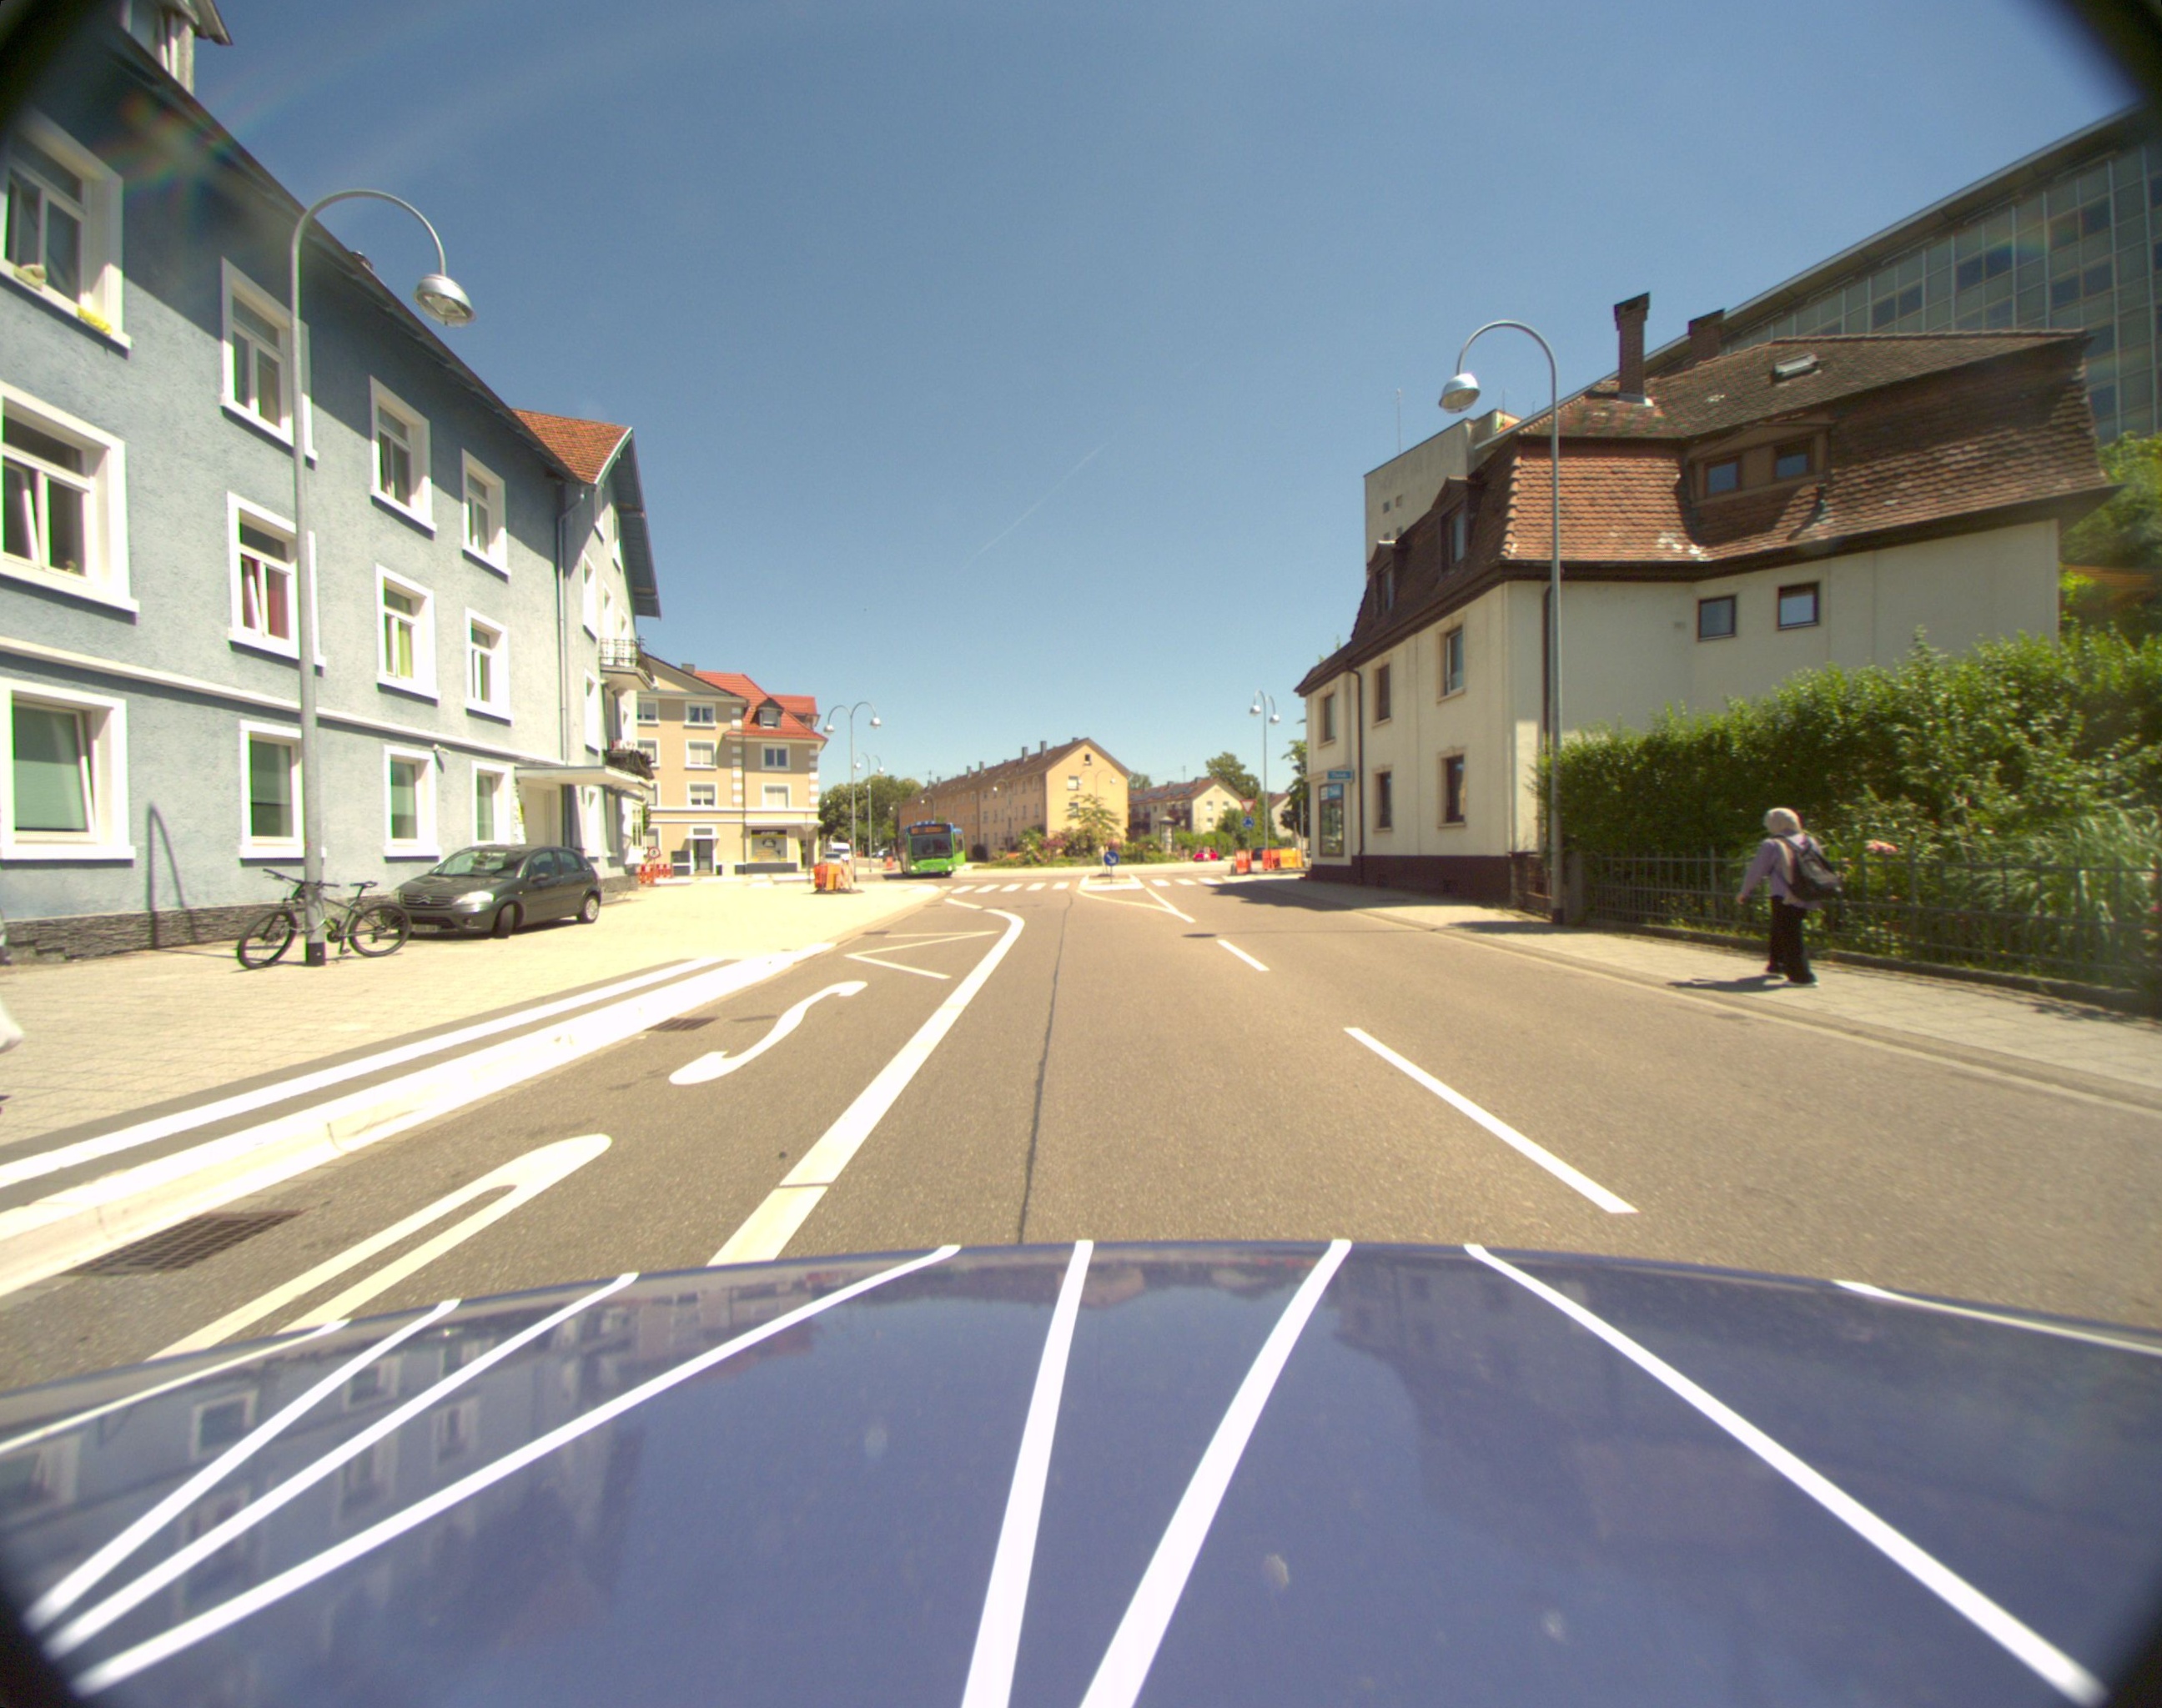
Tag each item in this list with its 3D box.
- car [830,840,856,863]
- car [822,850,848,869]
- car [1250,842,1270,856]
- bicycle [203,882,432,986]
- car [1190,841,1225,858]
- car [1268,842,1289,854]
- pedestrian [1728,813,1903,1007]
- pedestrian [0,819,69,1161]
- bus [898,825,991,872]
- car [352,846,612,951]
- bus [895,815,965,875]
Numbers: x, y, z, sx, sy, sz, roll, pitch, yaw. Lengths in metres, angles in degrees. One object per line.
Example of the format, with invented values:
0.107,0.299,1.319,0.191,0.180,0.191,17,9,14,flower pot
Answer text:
-26.147,-0.263,83.289,2.345,2.442,5.723,1,0,-21,car
-19.962,0.418,61.603,1.829,1.403,3.992,1,1,-20,car
17.361,-0.489,73.468,1.728,1.288,4.004,-2,1,14,car
-9.091,0.902,9.176,0.632,1.033,1.885,2,1,13,bicycle
12.581,-0.475,75.450,1.731,1.592,3.944,-1,1,38,car
24.371,-0.753,93.812,1.781,1.348,4.060,0,0,25,car
6.439,0.460,6.705,0.615,1.556,0.824,-6,1,-2,pedestrian
-5.954,0.711,3.857,0.616,1.795,0.749,2,1,-11,pedestrian
-10.006,-0.427,57.767,2.927,3.044,12.569,-2,0,8,bus
-10.125,0.657,13.258,1.763,1.505,3.739,2,0,-5,car
-9.479,-0.432,46.333,2.914,3.062,12.545,-3,0,-16,bus
